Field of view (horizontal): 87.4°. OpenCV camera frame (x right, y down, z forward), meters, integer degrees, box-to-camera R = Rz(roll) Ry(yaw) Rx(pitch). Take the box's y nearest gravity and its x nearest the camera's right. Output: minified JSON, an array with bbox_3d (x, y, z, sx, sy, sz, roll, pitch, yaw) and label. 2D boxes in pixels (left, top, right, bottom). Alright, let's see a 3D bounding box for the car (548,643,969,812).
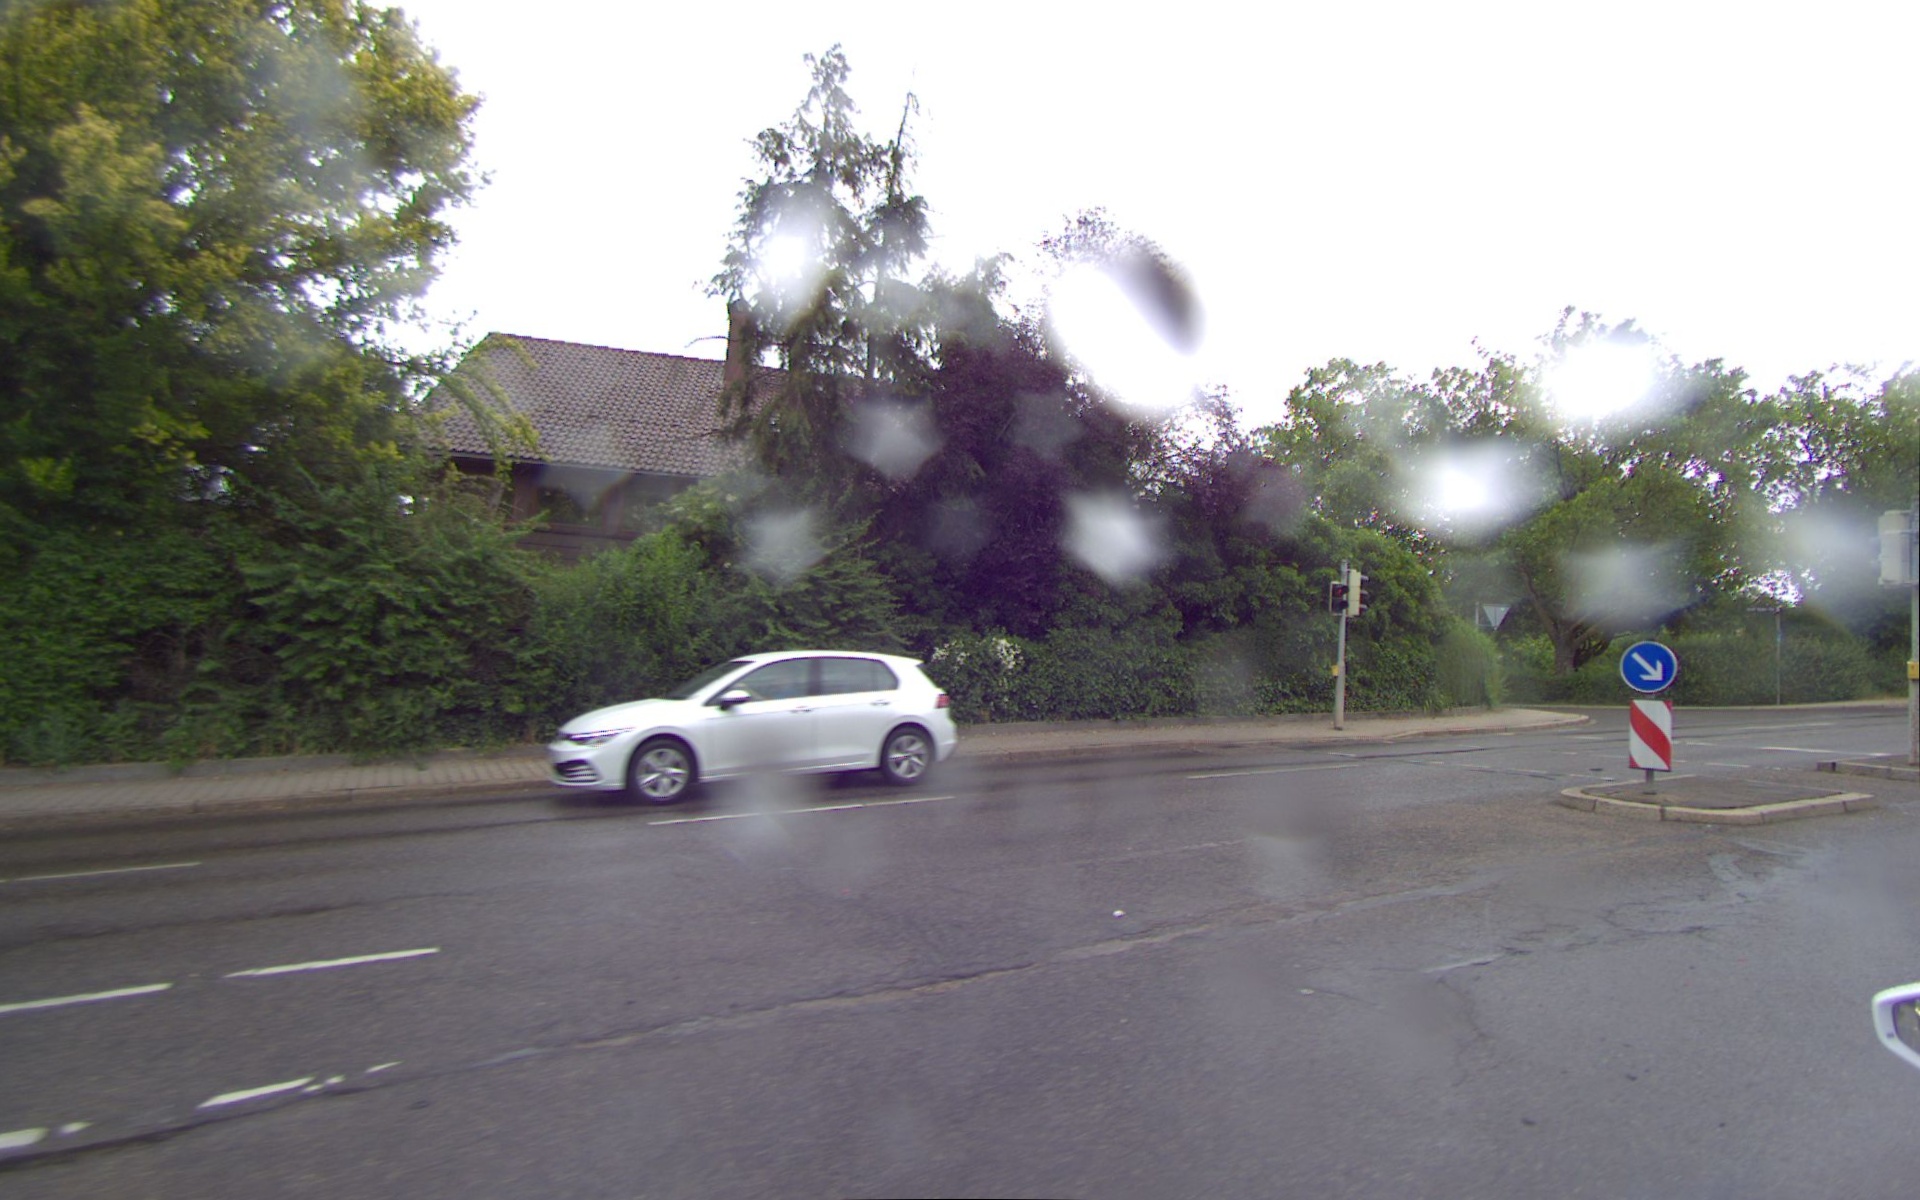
[{"bbox_3d":[-2.100,1.245,10.771,4.107,1.504,1.720,1,-4,-30],"label":"car"}]
